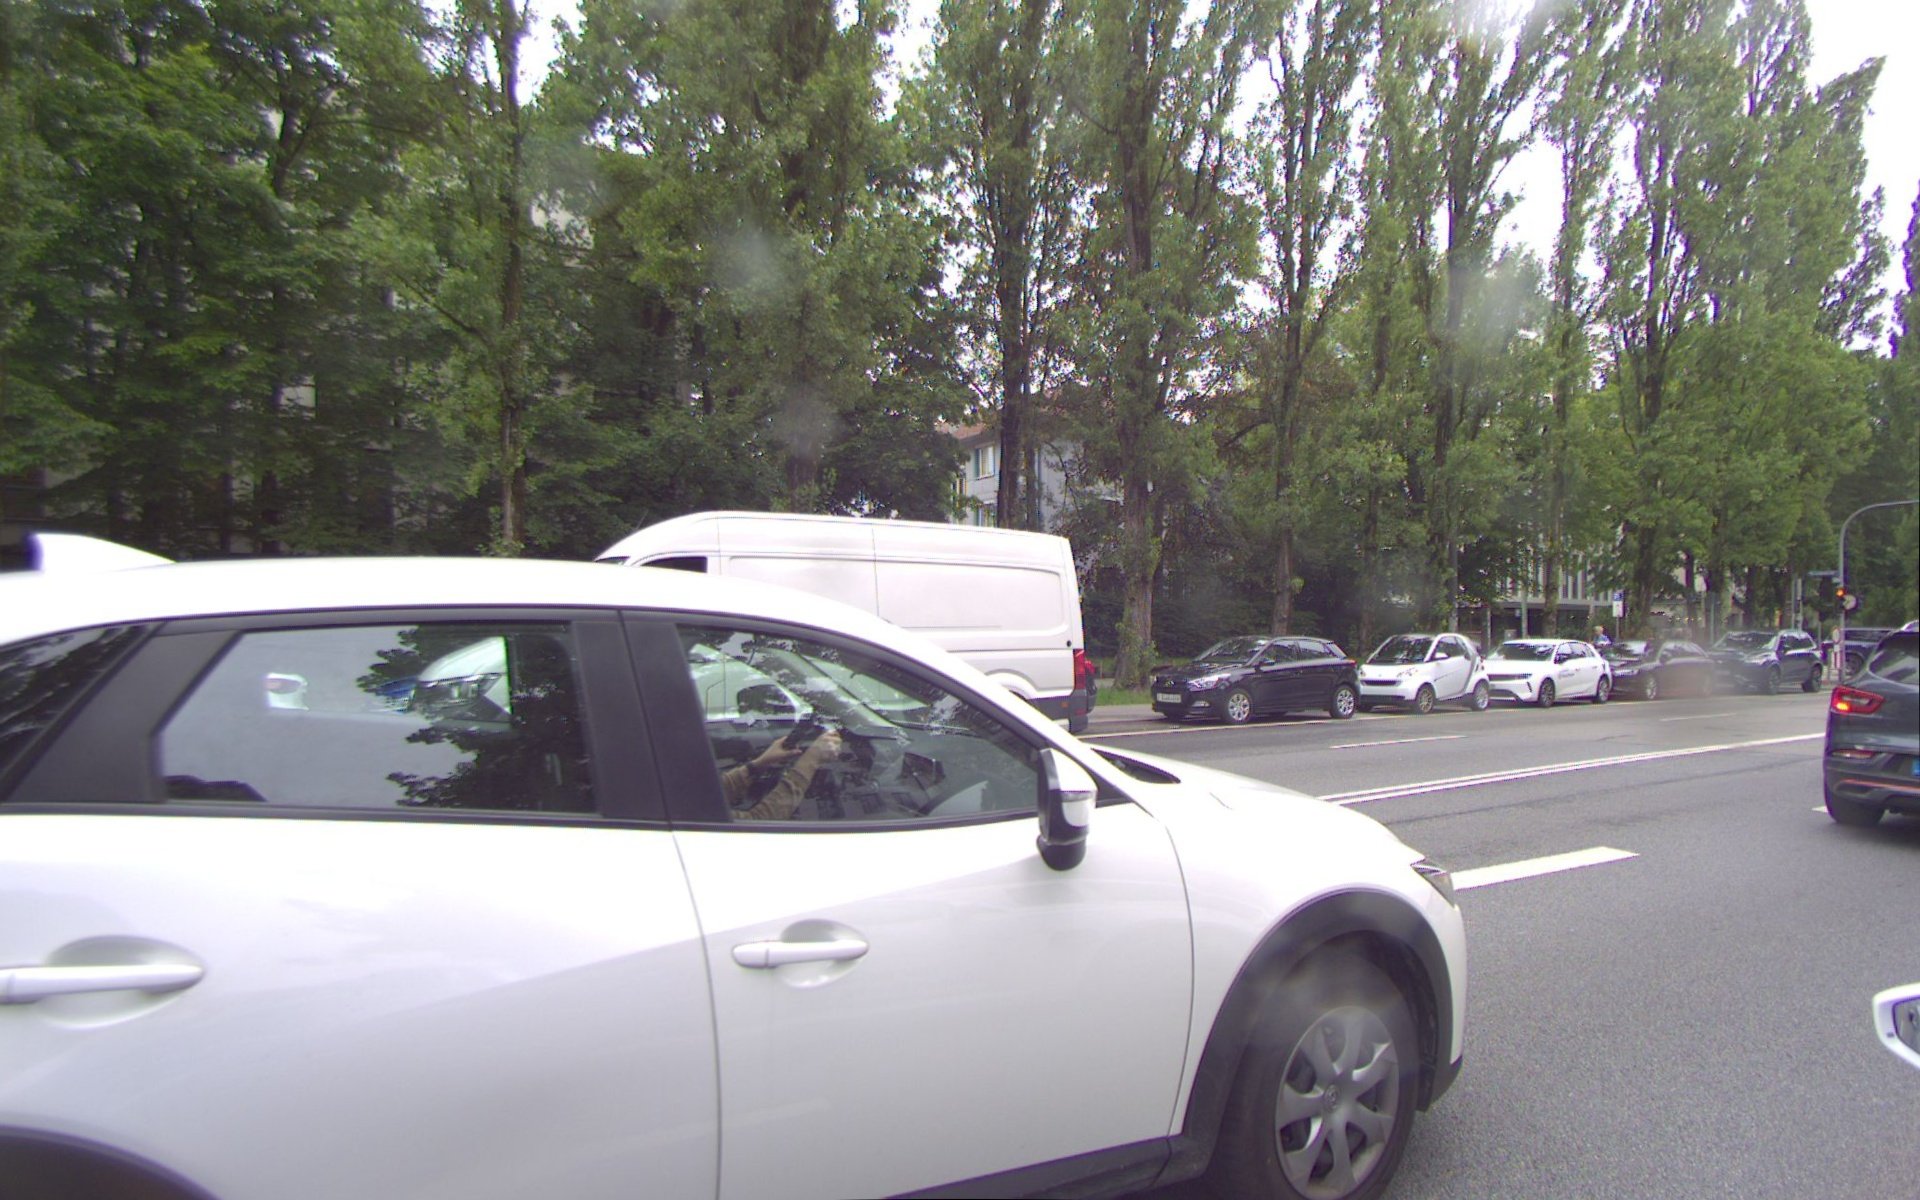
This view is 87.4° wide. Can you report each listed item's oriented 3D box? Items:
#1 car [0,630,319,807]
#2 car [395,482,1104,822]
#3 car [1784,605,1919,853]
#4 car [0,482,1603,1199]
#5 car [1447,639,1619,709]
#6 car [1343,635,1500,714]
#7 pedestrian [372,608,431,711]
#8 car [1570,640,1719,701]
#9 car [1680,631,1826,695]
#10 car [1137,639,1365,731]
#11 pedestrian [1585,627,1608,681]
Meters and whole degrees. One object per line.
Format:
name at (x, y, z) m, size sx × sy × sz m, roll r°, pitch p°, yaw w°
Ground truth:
car at (-8.376, 1.037, 9.188) m, size 4.187 × 1.471 × 1.761 m, roll 1°, pitch -4°, yaw -33°
car at (-1.836, 0.498, 10.182) m, size 6.683 × 2.515 × 2.216 m, roll 1°, pitch -3°, yaw -32°
car at (8.132, 0.887, 7.434) m, size 4.136 × 1.607 × 1.826 m, roll 1°, pitch 0°, yaw -30°
car at (-0.442, 0.679, 2.536) m, size 3.961 × 1.545 × 1.896 m, roll 1°, pitch -1°, yaw -30°
car at (12.720, 1.593, 22.233) m, size 4.123 × 1.407 × 1.614 m, roll 1°, pitch -4°, yaw -34°
car at (9.187, 1.452, 19.976) m, size 2.932 × 1.466 × 1.420 m, roll 1°, pitch -4°, yaw -32°
pedestrian at (-10.064, 1.048, 18.104) m, size 0.879 × 1.795 × 0.733 m, roll 1°, pitch 0°, yaw -30°
car at (17.101, 1.726, 25.042) m, size 4.123 × 1.407 × 1.614 m, roll 1°, pitch -4°, yaw -34°
car at (22.300, 1.731, 28.190) m, size 4.646 × 1.675 × 1.838 m, roll 1°, pitch -4°, yaw -34°
car at (5.072, 1.421, 17.420) m, size 3.805 × 1.444 × 1.594 m, roll 1°, pitch -4°, yaw -30°
pedestrian at (18.766, 1.586, 29.613) m, size 0.390 × 1.548 × 0.463 m, roll 1°, pitch -1°, yaw -30°
